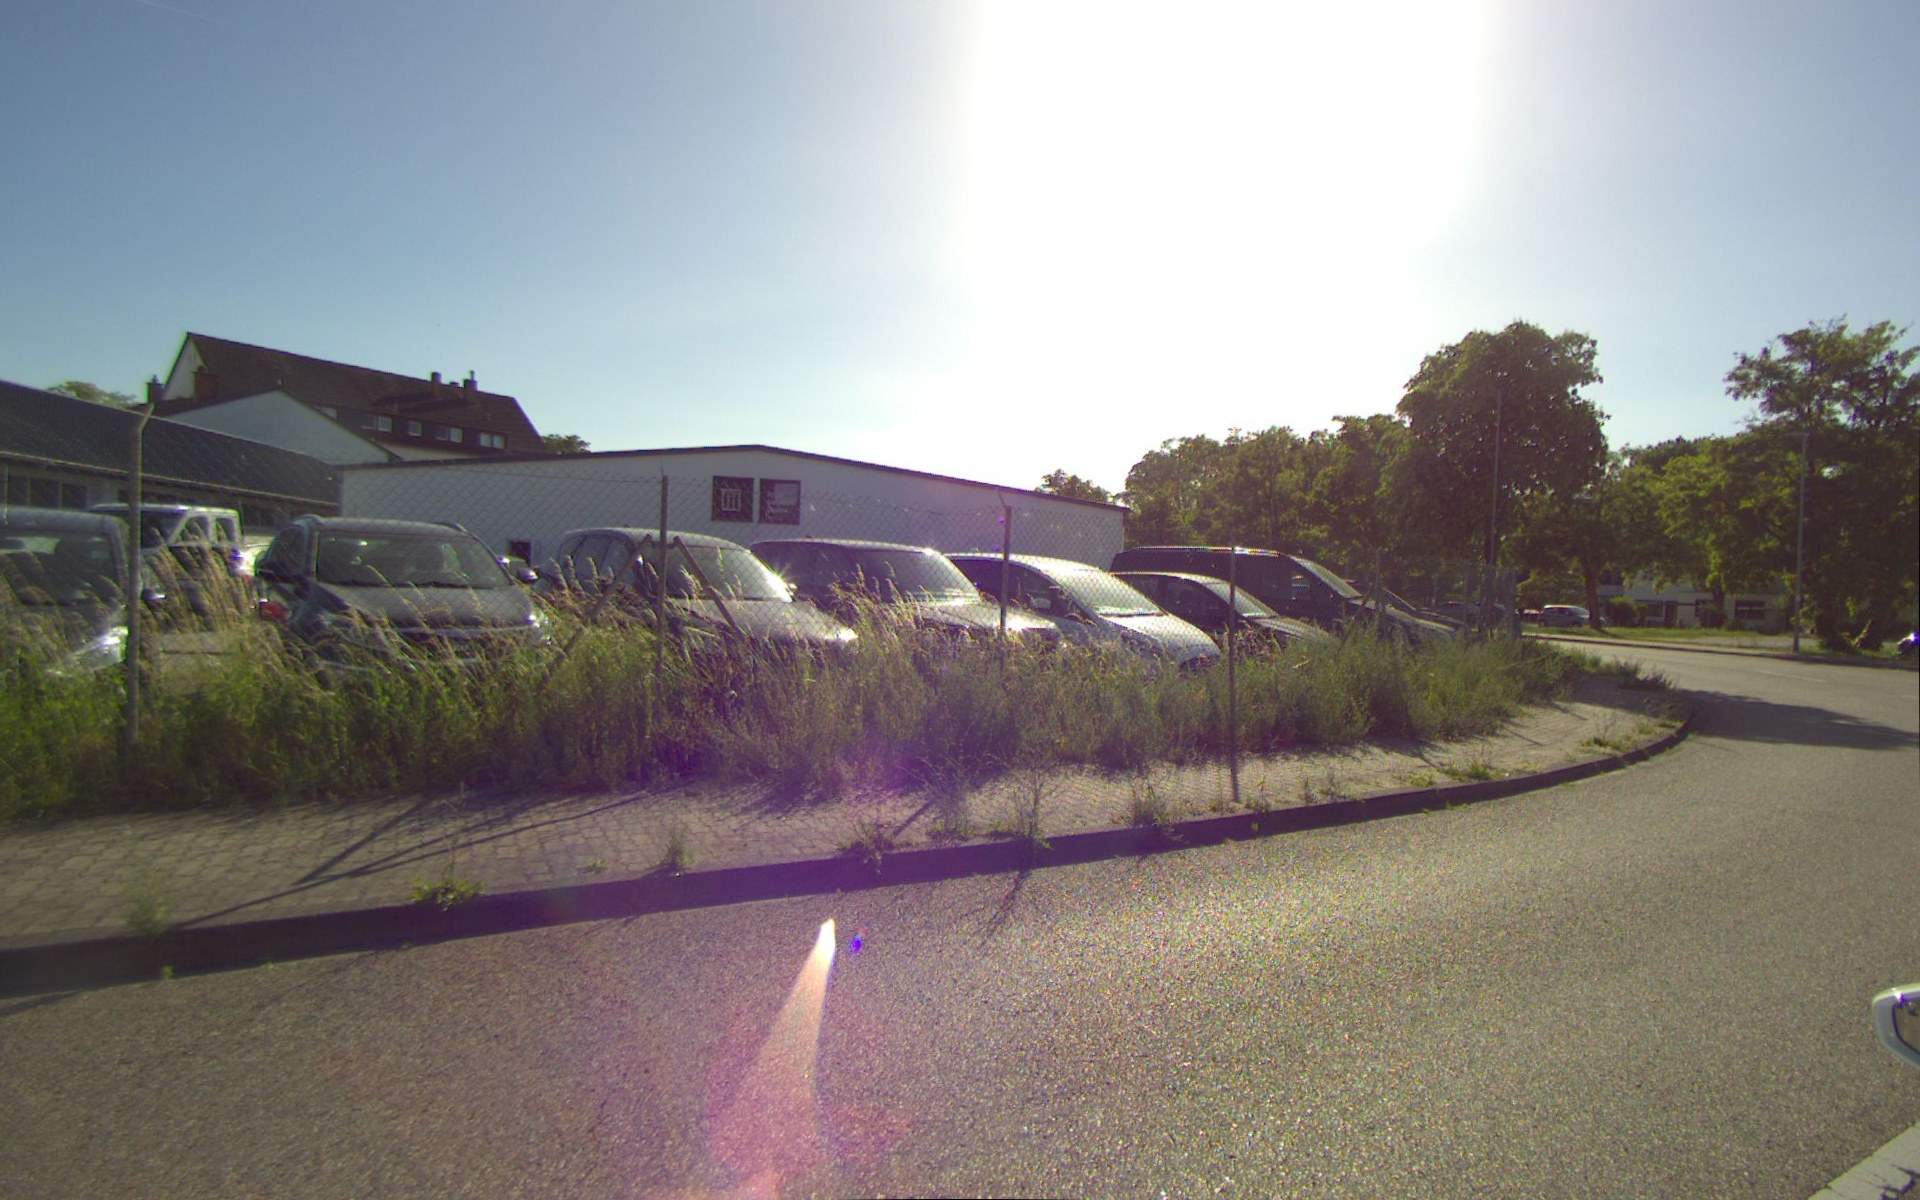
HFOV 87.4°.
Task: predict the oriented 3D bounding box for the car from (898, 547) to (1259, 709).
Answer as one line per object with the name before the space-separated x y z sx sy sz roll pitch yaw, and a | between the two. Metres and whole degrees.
car | 1.306 0.226 12.595 1.827 1.671 4.349 1 1 -42

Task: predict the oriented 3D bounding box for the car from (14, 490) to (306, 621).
car | -16.458 -0.926 21.198 2.071 2.302 5.755 2 2 -7

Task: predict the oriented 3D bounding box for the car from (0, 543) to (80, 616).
car | -19.273 -0.420 18.990 1.806 1.394 4.397 2 1 -8

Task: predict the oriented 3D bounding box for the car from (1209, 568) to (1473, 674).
car | 7.026 0.325 18.665 4.320 1.671 1.839 3 1 25

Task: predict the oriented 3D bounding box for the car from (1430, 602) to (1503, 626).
car | 35.692 0.964 70.956 1.964 1.504 4.916 2 1 -10

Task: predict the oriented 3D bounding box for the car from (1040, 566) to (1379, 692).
car | 3.517 0.326 14.429 4.328 1.456 1.836 3 1 33

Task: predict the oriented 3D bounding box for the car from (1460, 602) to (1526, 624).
car | 41.962 1.020 79.234 1.964 1.504 4.916 2 1 -10

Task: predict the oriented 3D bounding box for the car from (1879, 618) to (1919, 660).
car | 35.887 1.506 35.315 1.971 1.445 4.901 2 1 -21

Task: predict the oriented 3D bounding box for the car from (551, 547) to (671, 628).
car | -8.146 -0.314 23.835 1.806 1.671 4.397 2 1 -8

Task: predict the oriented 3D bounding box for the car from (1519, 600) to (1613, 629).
car | 36.016 0.818 59.864 1.964 1.504 4.916 2 1 -10

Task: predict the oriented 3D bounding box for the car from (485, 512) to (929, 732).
car | -2.574 0.087 9.681 4.333 1.671 1.833 3 1 37

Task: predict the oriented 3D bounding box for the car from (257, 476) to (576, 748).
car | -4.784 0.017 8.476 1.823 1.671 4.359 1 1 -36

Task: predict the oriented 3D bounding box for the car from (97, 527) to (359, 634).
car | -12.587 -0.338 17.677 1.806 1.583 4.397 2 1 -8

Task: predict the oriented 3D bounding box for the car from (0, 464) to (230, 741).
car | -6.992 -0.061 7.841 1.821 1.671 4.363 1 1 -33

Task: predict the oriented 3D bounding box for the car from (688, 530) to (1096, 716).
car | -0.868 0.127 11.088 4.333 1.671 1.833 3 1 37

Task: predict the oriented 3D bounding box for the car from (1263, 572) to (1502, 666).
car | 8.621 0.350 20.913 4.315 1.671 1.841 3 1 15

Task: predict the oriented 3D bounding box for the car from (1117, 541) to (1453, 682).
car | 5.120 0.094 16.102 4.768 1.918 1.835 3 1 33
